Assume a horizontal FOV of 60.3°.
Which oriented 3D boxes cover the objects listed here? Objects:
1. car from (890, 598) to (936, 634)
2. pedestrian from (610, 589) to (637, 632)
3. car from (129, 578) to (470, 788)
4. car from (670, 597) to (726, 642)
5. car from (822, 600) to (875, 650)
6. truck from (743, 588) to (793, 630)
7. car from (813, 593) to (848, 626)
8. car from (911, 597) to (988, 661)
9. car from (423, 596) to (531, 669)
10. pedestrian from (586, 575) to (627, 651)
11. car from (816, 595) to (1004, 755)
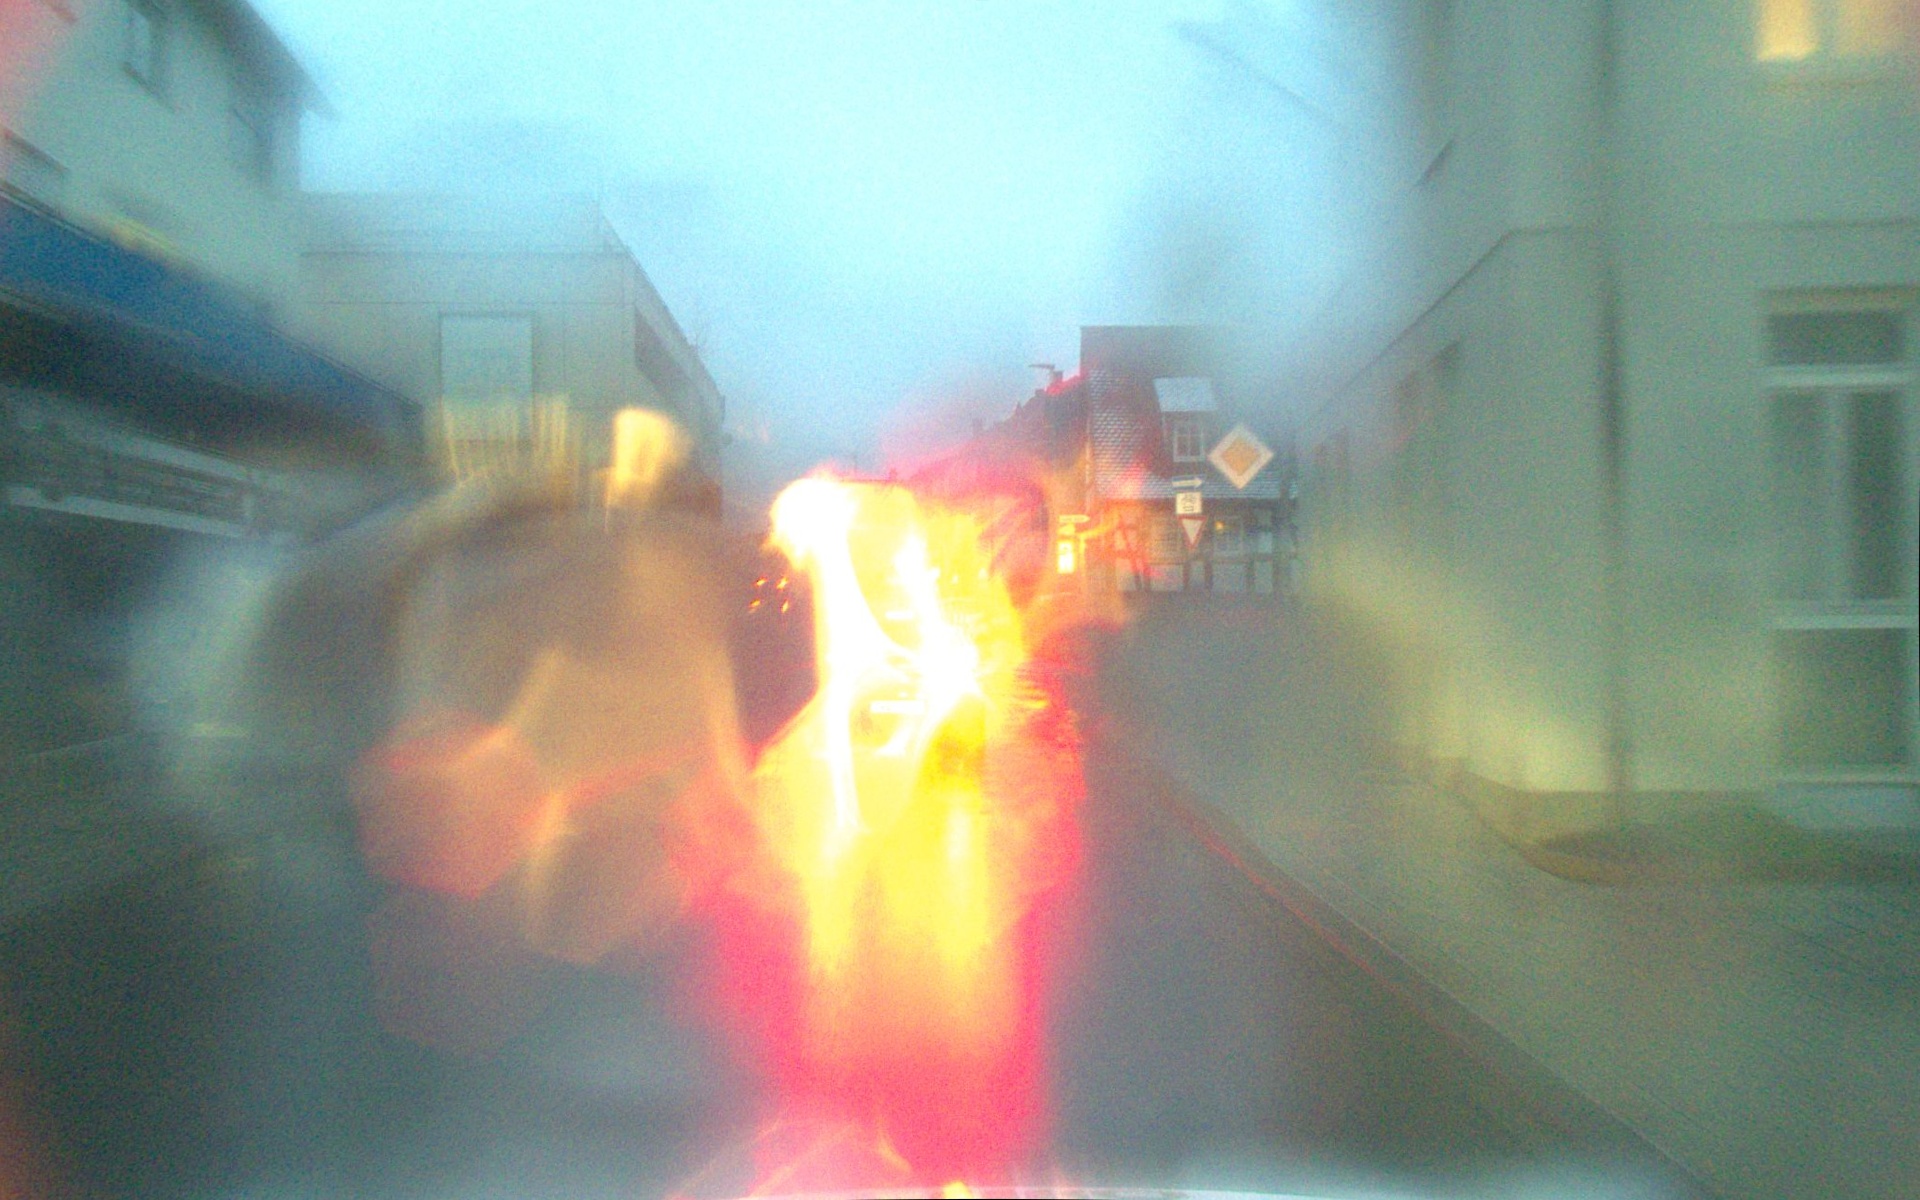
[{"bbox_3d":[-2.133,0.704,74.232,1.759,1.486,4.526,-3,0,-5],"label":"car"},{"bbox_3d":[-10.662,0.336,52.430,0.741,1.333,0.827,1,-1,-6],"label":"pedestrian"},{"bbox_3d":[-5.877,0.661,15.217,1.686,1.642,3.814,2,0,-3],"label":"car"},{"bbox_3d":[-9.500,0.702,60.262,1.583,1.559,3.925,1,0,-3],"label":"car"},{"bbox_3d":[-3.506,0.773,52.282,1.605,1.507,3.376,1,-1,-4],"label":"car"},{"bbox_3d":[-15.377,0.706,132.149,2.964,3.183,7.971,1,0,-14],"label":"truck"},{"bbox_3d":[-6.126,0.441,78.488,1.605,1.507,3.268,1,0,-4],"label":"car"},{"bbox_3d":[-0.311,0.722,42.424,1.698,1.484,3.997,-3,0,-4],"label":"car"},{"bbox_3d":[-11.648,0.739,40.135,1.730,1.526,4.444,-1,2,-7],"label":"car"},{"bbox_3d":[-9.370,0.330,43.834,0.958,1.972,1.196,-1,0,-17],"label":"pedestrian"},{"bbox_3d":[-0.474,0.688,17.177,1.734,1.473,3.727,0,0,0],"label":"car"}]
